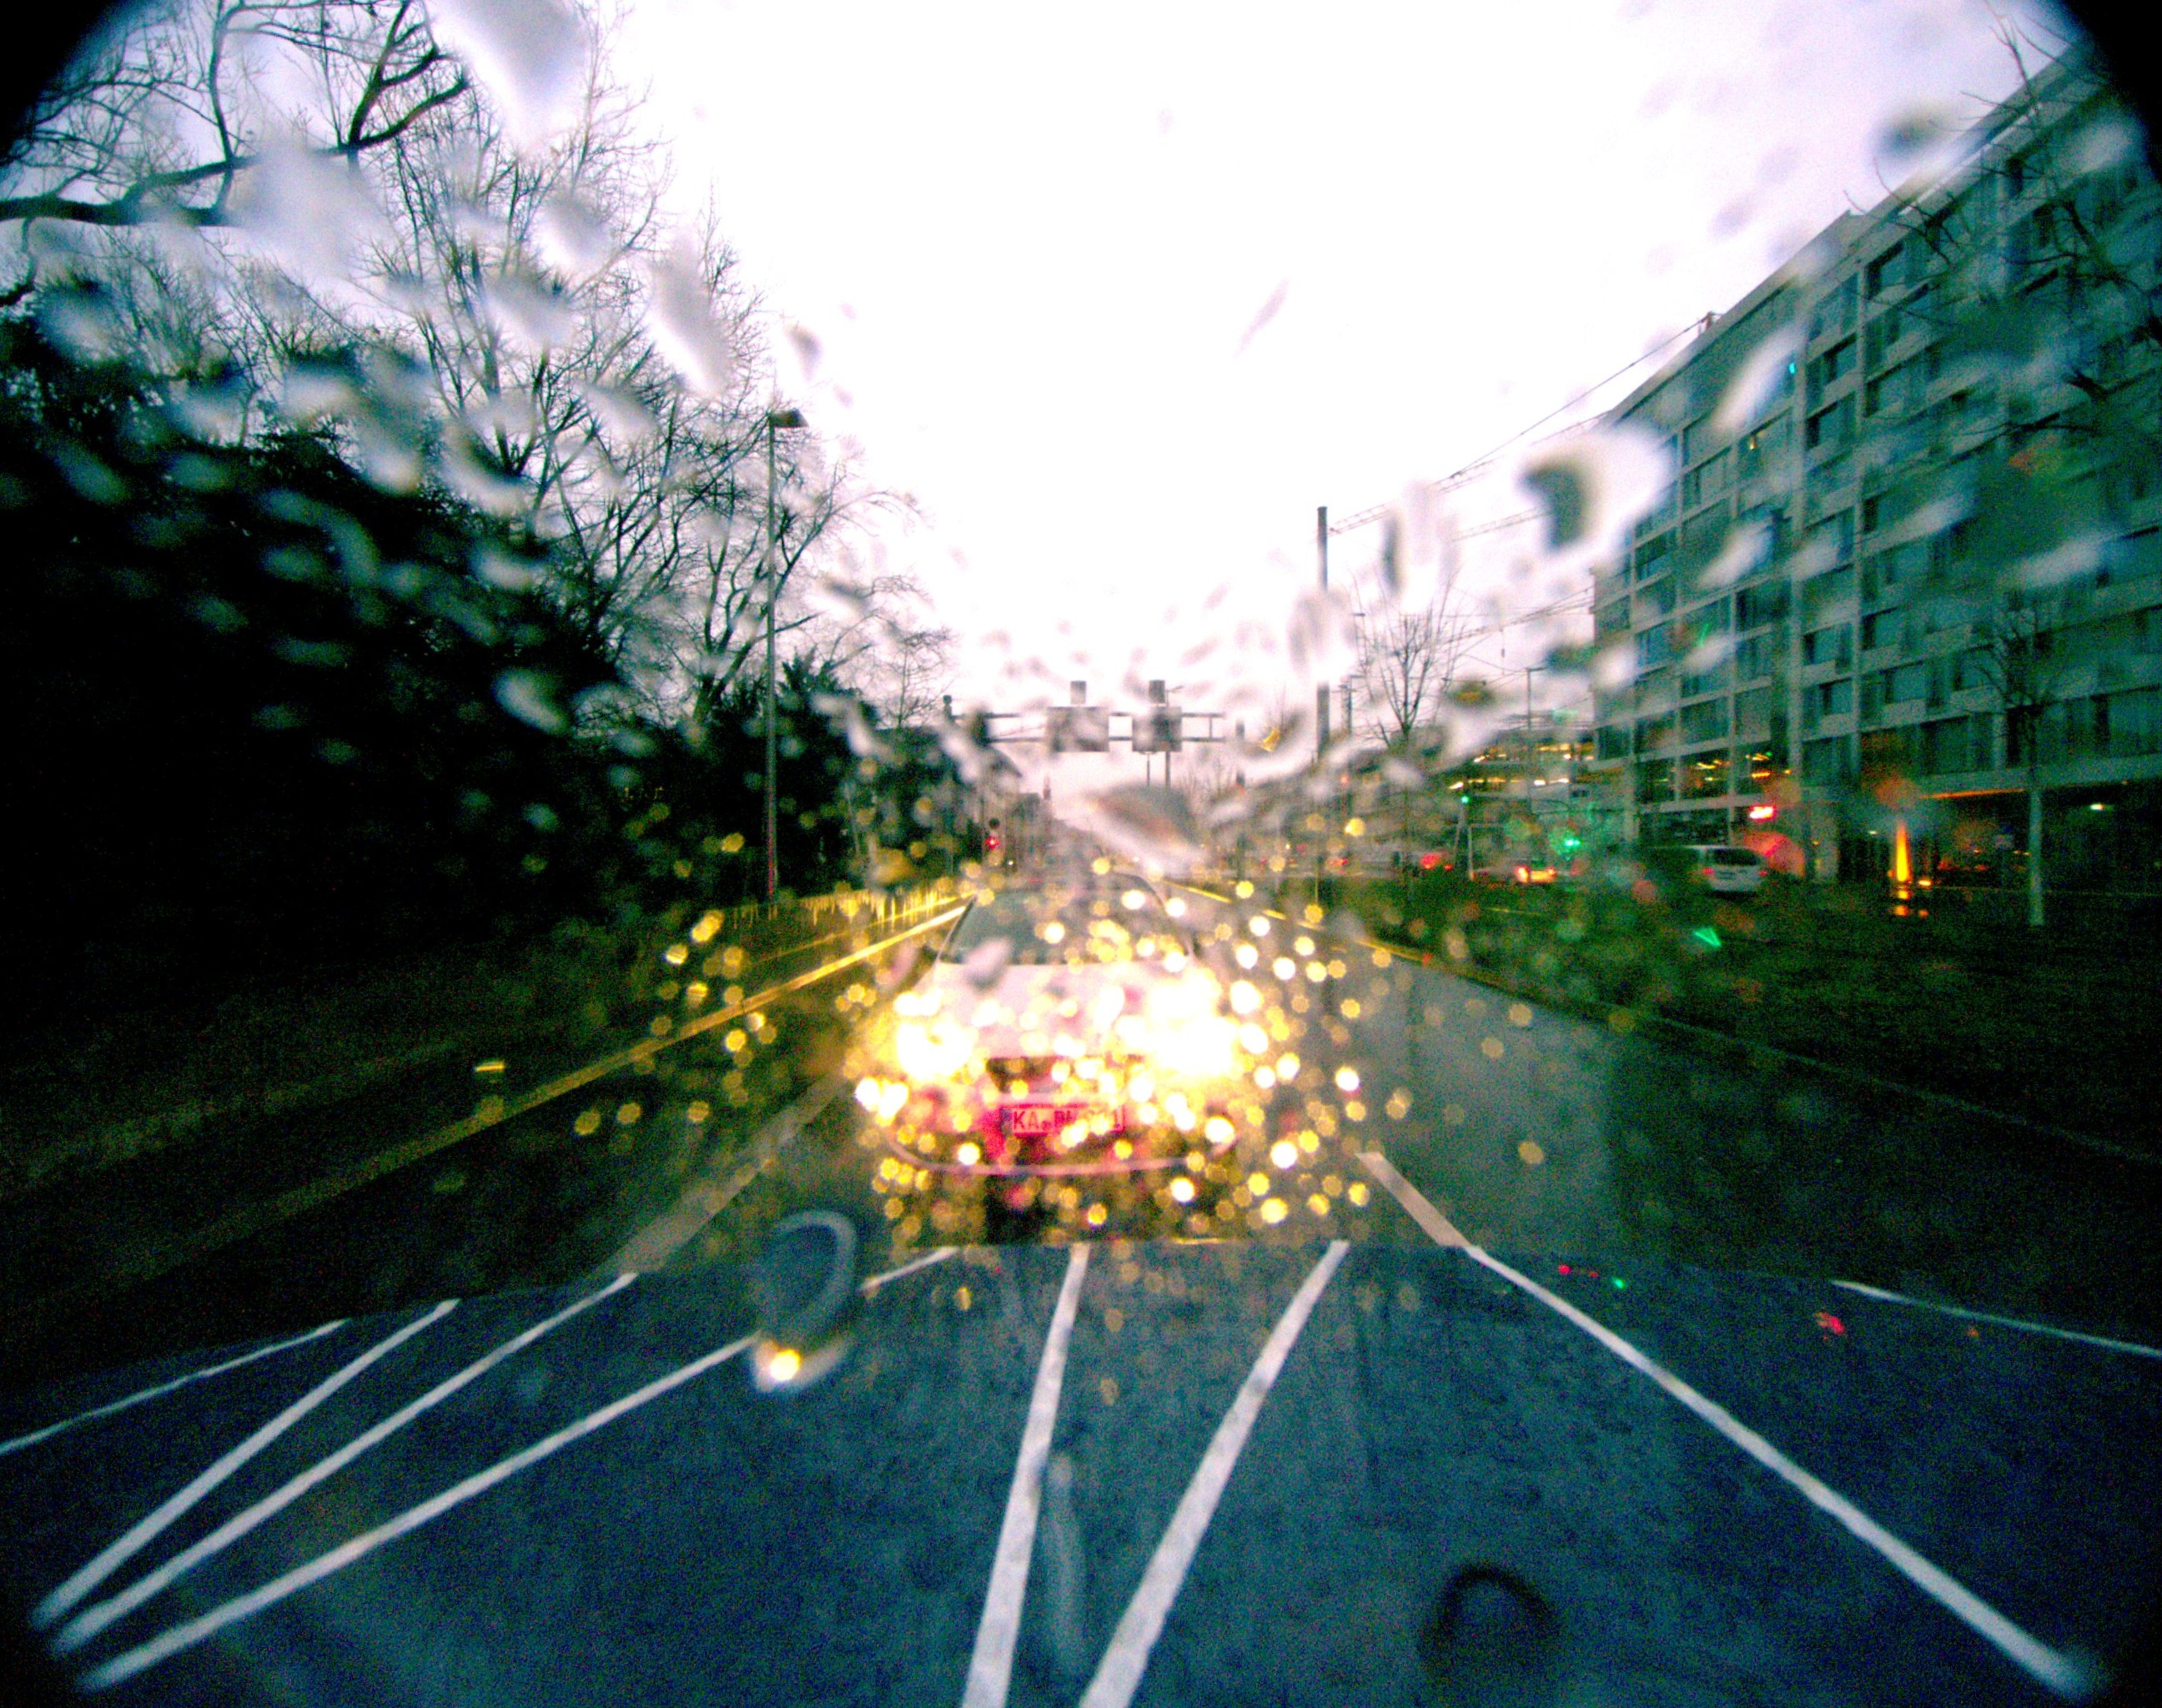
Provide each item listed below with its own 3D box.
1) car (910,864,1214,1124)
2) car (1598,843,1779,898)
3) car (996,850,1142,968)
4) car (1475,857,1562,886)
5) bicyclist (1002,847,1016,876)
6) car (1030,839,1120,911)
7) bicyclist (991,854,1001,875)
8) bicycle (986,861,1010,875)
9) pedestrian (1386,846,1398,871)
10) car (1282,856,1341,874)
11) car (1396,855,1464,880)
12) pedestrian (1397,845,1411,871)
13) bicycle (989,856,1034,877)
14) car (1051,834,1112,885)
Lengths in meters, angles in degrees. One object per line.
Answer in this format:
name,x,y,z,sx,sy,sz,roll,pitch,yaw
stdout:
car,-0.091,0.897,6.799,1.886,1.552,4.171,0,0,1
car,20.100,0.506,25.513,2.086,1.659,5.043,0,0,1
car,-0.219,0.798,13.265,2.073,1.618,4.267,-2,1,-1
car,20.491,0.782,35.790,1.816,1.300,4.000,0,0,1
bicyclist,-5.615,0.601,58.960,0.935,2.210,0.967,-2,1,-10
car,-0.106,0.473,20.047,2.073,1.618,4.268,-2,1,1
bicyclist,-6.806,0.826,60.784,0.593,1.675,0.691,-3,1,-26
bicycle,-6.674,1.149,60.856,1.723,1.036,0.691,-3,1,-26
pedestrian,22.173,0.309,54.186,0.709,1.794,0.771,-2,1,15
car,17.335,0.817,57.138,3.989,1.267,1.821,0,0,29
car,20.857,0.770,45.659,2.111,1.392,4.257,0,0,-1
pedestrian,22.830,0.249,53.709,0.709,1.794,0.770,-2,1,13
bicycle,-5.385,0.976,59.021,3.390,1.442,0.967,-2,1,-10
car,0.033,0.164,27.494,1.998,1.618,4.268,-2,0,0
